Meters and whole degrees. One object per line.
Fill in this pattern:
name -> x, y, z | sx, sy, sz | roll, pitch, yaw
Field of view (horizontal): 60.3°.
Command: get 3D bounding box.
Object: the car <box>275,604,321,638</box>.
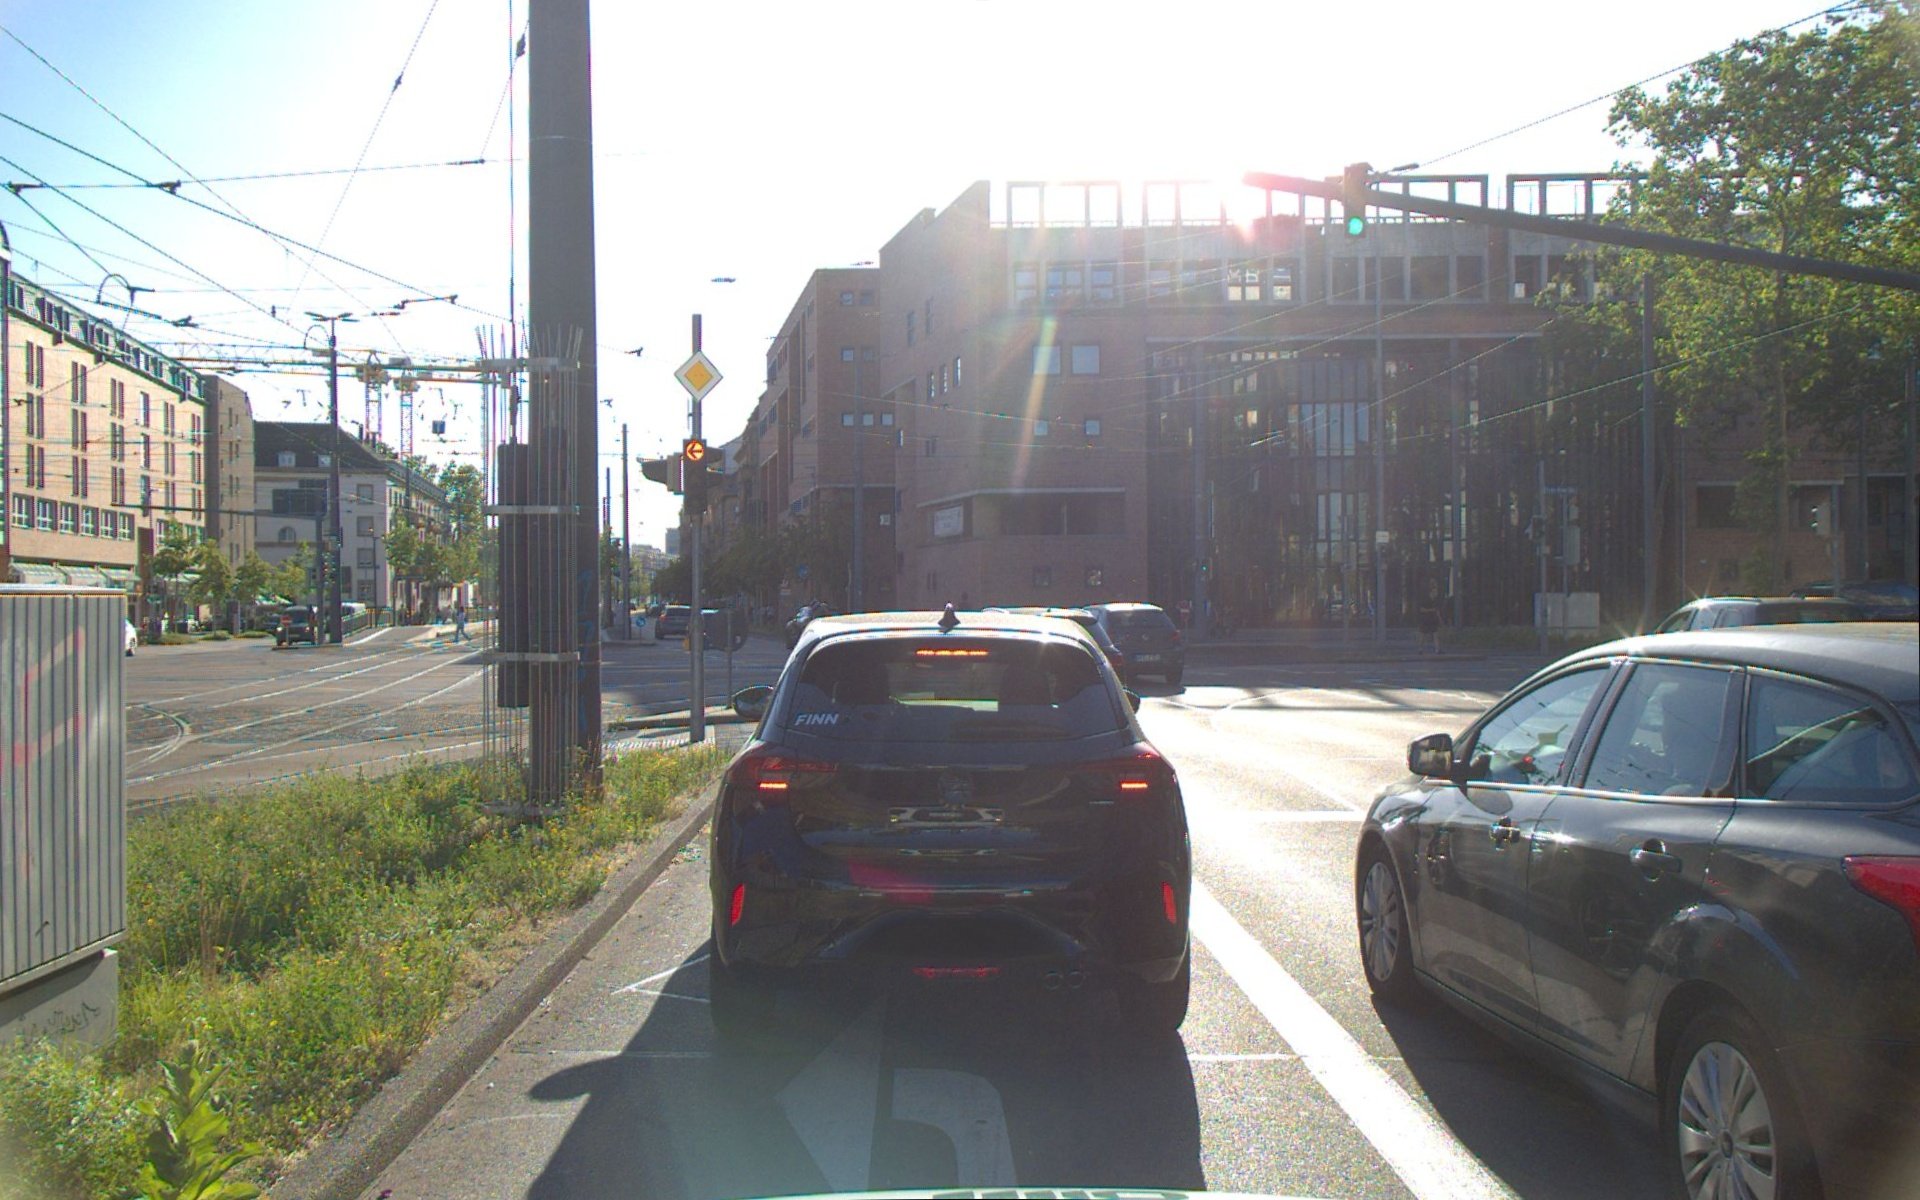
car -> -31.205, 0.981, 78.022 | 1.717, 1.531, 3.861 | -1, 0, -18

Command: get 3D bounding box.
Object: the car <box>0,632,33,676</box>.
car -> -36.413, 2.020, 61.267 | 1.717, 1.577, 4.002 | -1, 0, 3

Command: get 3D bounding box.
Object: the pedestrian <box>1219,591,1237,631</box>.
pedestrian -> 11.185, 0.457, 69.104 | 0.722, 1.645, 0.561 | -1, 0, 8

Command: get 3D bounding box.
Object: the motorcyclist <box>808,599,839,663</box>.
motorcyclist -> -3.402, 0.760, 41.185 | 0.730, 1.557, 1.019 | -1, 0, -6

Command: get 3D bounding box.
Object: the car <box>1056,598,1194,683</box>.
car -> 3.054, 0.724, 31.359 | 1.773, 1.483, 3.994 | 1, 0, -7

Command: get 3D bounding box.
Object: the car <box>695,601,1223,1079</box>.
car -> 0.012, 0.738, 7.088 | 1.615, 1.458, 4.000 | 0, 0, 0

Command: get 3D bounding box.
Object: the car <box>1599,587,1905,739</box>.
car -> 9.555, 0.694, 20.379 | 1.653, 1.657, 4.463 | 0, 0, 0

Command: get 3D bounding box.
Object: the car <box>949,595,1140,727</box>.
car -> 0.966, 0.713, 21.376 | 1.776, 1.518, 4.489 | 0, 0, -6

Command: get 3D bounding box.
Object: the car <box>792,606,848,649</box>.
car -> -5.129, 0.969, 60.163 | 1.774, 1.483, 3.992 | 1, 0, -9

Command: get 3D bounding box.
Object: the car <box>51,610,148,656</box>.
car -> -29.378, 1.106, 56.581 | 1.542, 1.474, 3.996 | -1, 0, -5

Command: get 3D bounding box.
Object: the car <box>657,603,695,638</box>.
car -> -14.209, 0.991, 82.673 | 1.706, 1.680, 3.988 | 0, 0, -12

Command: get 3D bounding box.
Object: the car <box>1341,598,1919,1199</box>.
car -> 2.504, 0.750, 4.755 | 1.652, 1.458, 4.151 | -1, 1, -3

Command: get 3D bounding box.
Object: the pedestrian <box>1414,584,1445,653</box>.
pedestrian -> 12.279, 0.484, 43.277 | 0.692, 1.789, 0.560 | -1, 0, 25

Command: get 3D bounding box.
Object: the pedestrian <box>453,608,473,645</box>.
pedestrian -> -22.235, 1.181, 73.973 | 0.755, 1.669, 0.739 | -1, 0, -24

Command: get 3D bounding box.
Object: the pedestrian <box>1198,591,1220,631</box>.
pedestrian -> 10.278, 0.466, 68.331 | 0.881, 1.645, 0.561 | -1, 0, 8

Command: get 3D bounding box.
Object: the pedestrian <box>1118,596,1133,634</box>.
pedestrian -> 6.547, 0.590, 65.465 | 0.519, 1.455, 0.598 | -1, 0, -1

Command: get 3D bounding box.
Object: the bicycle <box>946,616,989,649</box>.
bicycle -> 0.232, 1.033, 53.123 | 0.485, 1.015, 2.311 | -1, 0, -23

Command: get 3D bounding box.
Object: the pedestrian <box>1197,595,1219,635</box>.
pedestrian -> 10.140, 0.618, 67.667 | 0.881, 1.645, 0.561 | -1, 0, 8

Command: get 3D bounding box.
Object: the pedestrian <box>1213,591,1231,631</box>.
pedestrian -> 11.093, 0.460, 69.923 | 0.722, 1.645, 0.561 | -1, 0, 8

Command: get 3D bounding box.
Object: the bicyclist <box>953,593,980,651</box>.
bicyclist -> 0.199, 0.697, 53.064 | 0.569, 1.822, 0.858 | -1, 0, -22

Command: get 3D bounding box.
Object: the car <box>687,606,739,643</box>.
car -> -9.507, 0.916, 63.448 | 1.707, 1.373, 3.988 | 0, 0, -12

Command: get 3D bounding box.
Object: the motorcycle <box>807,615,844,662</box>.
motorcycle -> -3.387, 0.949, 41.577 | 0.761, 1.135, 1.965 | -1, 0, -9
